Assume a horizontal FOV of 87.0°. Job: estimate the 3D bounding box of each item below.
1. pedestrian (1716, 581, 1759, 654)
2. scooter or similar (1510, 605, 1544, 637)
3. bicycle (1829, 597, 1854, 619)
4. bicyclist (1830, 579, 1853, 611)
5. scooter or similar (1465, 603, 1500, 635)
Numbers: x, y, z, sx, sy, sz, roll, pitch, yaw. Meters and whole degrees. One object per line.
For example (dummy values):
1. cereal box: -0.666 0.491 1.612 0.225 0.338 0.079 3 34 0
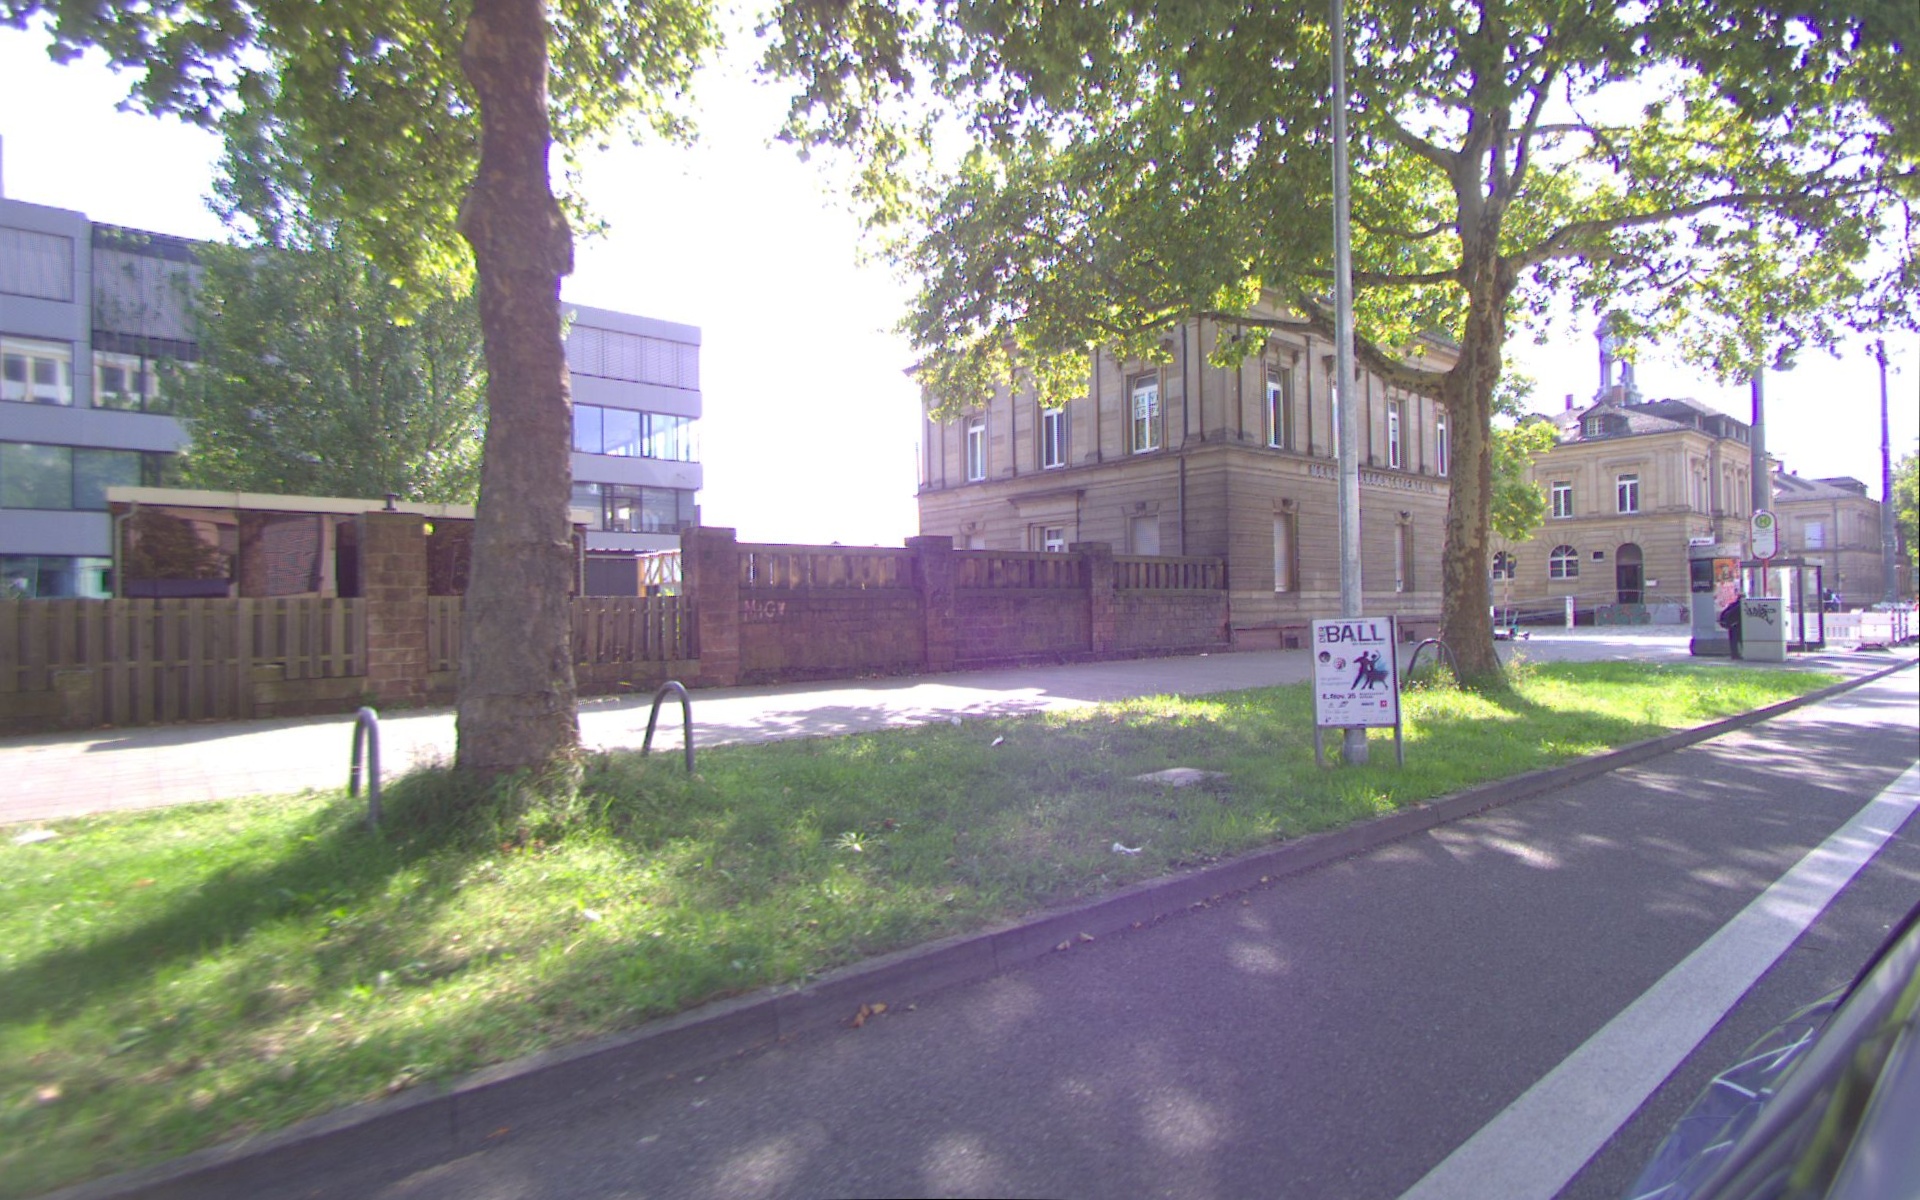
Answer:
1. pedestrian: 18.540 0.417 24.149 0.684 1.718 0.642 -1 -1 29
2. scooter or similar: 22.207 0.815 39.625 1.228 1.225 0.423 2 -2 -18
3. bicycle: 43.100 0.412 49.460 1.870 1.055 0.718 0 -1 -43
4. bicyclist: 43.152 -0.250 49.532 0.939 1.563 0.718 1 -2 -43
5. scooter or similar: 20.897 0.753 40.477 1.242 1.225 0.419 0 -2 26
